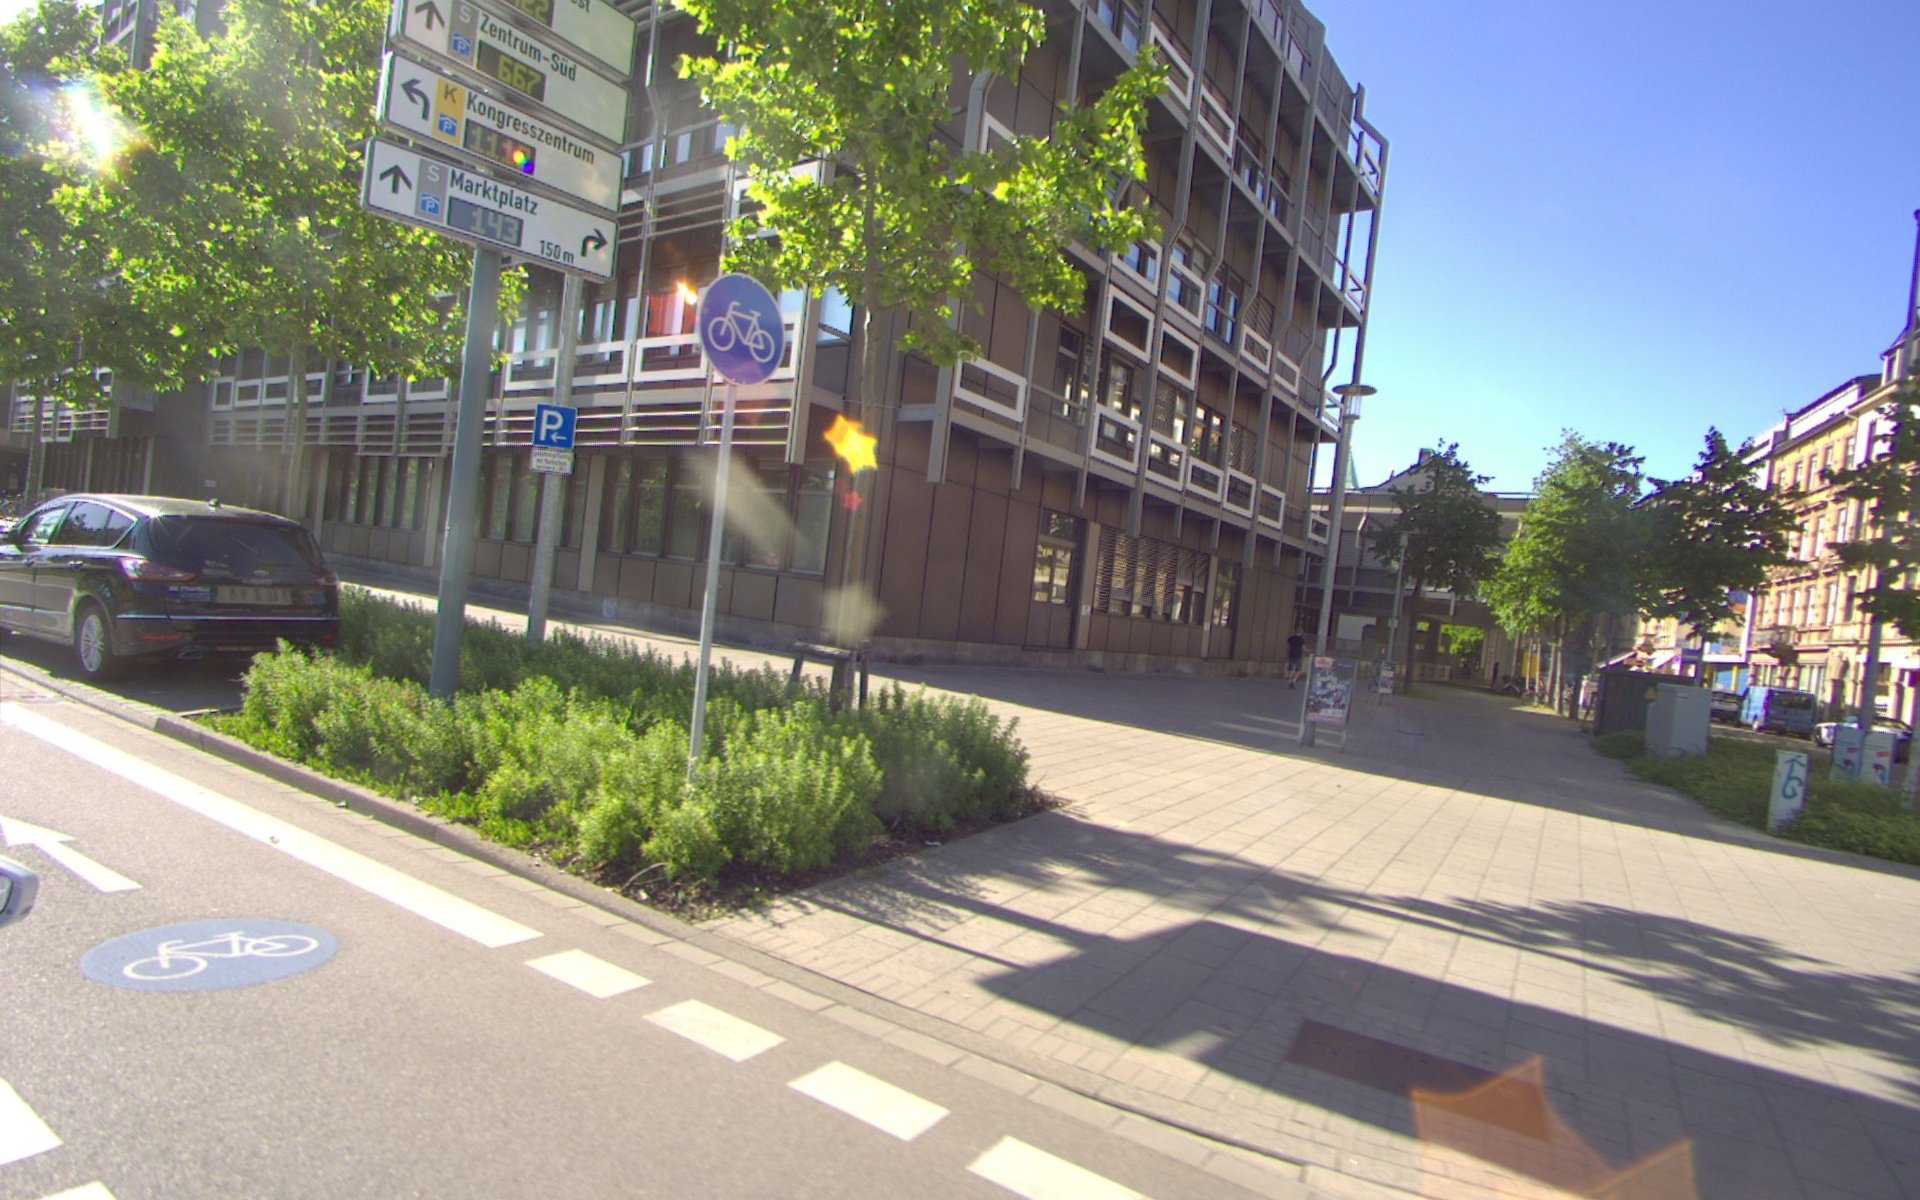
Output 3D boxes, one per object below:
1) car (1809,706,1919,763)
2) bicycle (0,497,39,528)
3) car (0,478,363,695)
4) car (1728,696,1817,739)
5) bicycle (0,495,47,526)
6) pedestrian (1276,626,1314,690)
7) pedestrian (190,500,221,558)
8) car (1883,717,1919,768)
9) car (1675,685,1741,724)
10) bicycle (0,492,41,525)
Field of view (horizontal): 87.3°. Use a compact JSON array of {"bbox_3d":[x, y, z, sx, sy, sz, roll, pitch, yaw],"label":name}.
[{"bbox_3d":[30.438,4.470,33.715,1.681,1.371,3.823,7,0,21],"label":"car"},{"bbox_3d":[-34.999,-3.234,36.791,0.420,1.024,1.855,7,2,38],"label":"bicycle"},{"bbox_3d":[-8.243,-0.205,10.243,4.395,1.679,1.750,7,0,31],"label":"car"},{"bbox_3d":[34.566,4.958,42.900,1.681,1.371,3.823,7,0,21],"label":"car"},{"bbox_3d":[-33.972,-3.238,36.009,0.420,0.951,1.855,7,2,38],"label":"bicycle"},{"bbox_3d":[9.952,1.722,29.872,0.762,1.806,0.639,7,1,30],"label":"pedestrian"},{"bbox_3d":[-22.514,-2.122,30.011,0.663,1.645,0.510,7,4,37],"label":"pedestrian"},{"bbox_3d":[28.499,4.257,28.741,1.681,1.371,3.823,7,0,21],"label":"car"},{"bbox_3d":[37.766,5.241,50.867,1.508,1.574,3.823,7,0,21],"label":"car"},{"bbox_3d":[-35.914,-3.489,37.866,0.420,1.112,1.855,7,3,38],"label":"bicycle"}]
